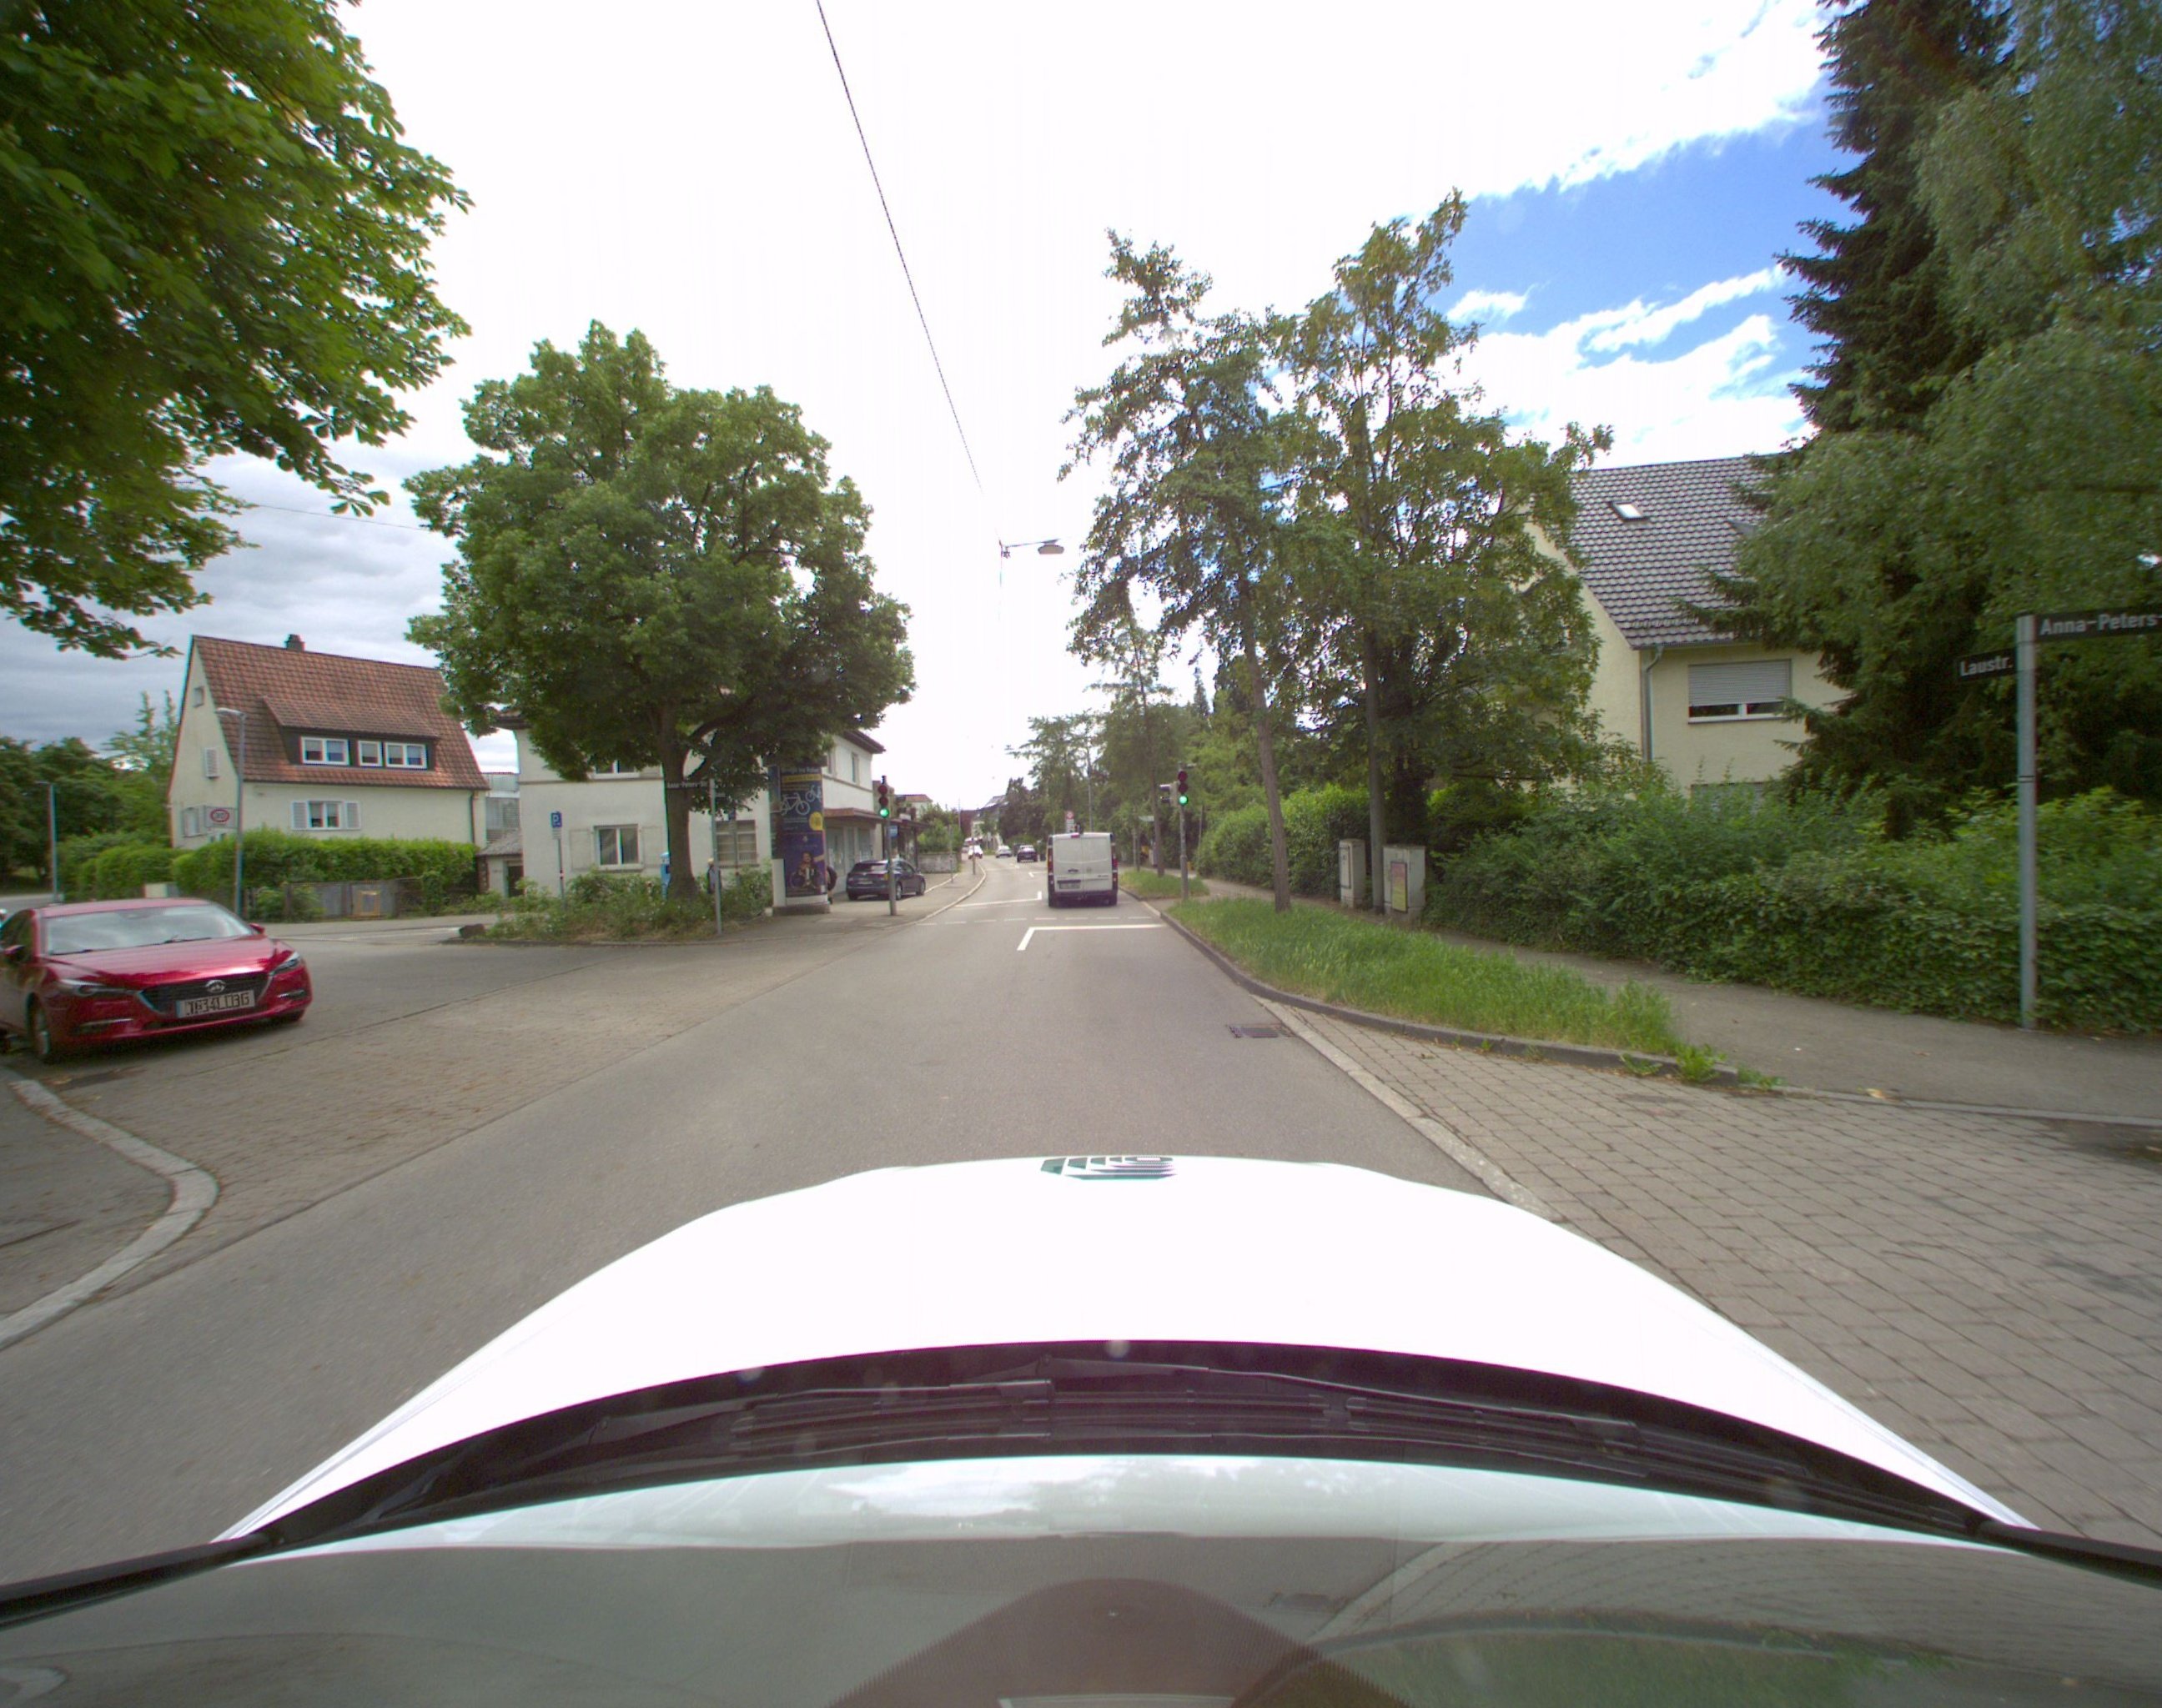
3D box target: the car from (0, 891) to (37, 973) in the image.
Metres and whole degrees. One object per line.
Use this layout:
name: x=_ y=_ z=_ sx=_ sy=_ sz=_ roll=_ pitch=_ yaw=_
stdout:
car: x=-22.090 y=1.551 z=15.714 sx=3.927 sy=1.489 sz=1.844 roll=-2 pitch=3 yaw=31

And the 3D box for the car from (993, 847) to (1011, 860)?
car: x=-10.977 y=-0.067 z=113.163 sx=1.829 sy=1.728 sz=3.979 roll=-2 pitch=0 yaw=-16

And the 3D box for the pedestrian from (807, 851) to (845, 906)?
pedestrian: x=-8.257 y=0.786 z=26.406 sx=0.880 sy=1.718 sz=0.764 roll=0 pitch=1 yaw=13

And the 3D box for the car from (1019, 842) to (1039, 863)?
car: x=-5.057 y=-0.164 z=79.514 sx=1.892 sy=1.859 sz=4.399 roll=-2 pitch=0 yaw=-3

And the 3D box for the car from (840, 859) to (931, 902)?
car: x=-7.097 y=0.920 z=30.029 sx=1.770 sy=1.441 sz=4.534 roll=-1 pitch=0 yaw=7

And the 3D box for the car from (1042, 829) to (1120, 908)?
car: x=-0.065 y=0.365 z=23.059 sx=1.925 sy=1.964 sz=4.399 roll=-2 pitch=0 yaw=-2

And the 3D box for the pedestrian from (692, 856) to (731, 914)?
pedestrian: x=-10.586 y=0.874 z=23.367 sx=0.695 sy=1.616 sz=0.716 roll=-2 pitch=1 yaw=3

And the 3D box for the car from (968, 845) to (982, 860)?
car: x=-15.789 y=-0.254 z=121.559 sx=1.866 sy=1.911 sz=5.101 roll=-5 pitch=2 yaw=-8

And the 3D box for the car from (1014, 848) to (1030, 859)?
car: x=-8.535 y=-0.095 z=117.948 sx=1.893 sy=1.611 sz=4.486 roll=-2 pitch=0 yaw=-9

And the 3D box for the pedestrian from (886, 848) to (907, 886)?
pedestrian: x=-8.597 y=0.598 z=37.974 sx=0.881 sy=1.750 sz=0.961 roll=-1 pitch=0 yaw=-8

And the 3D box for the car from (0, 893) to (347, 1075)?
car: x=-10.314 y=1.265 z=9.037 sx=4.179 sy=1.432 sz=1.828 roll=-2 pitch=3 yaw=29
